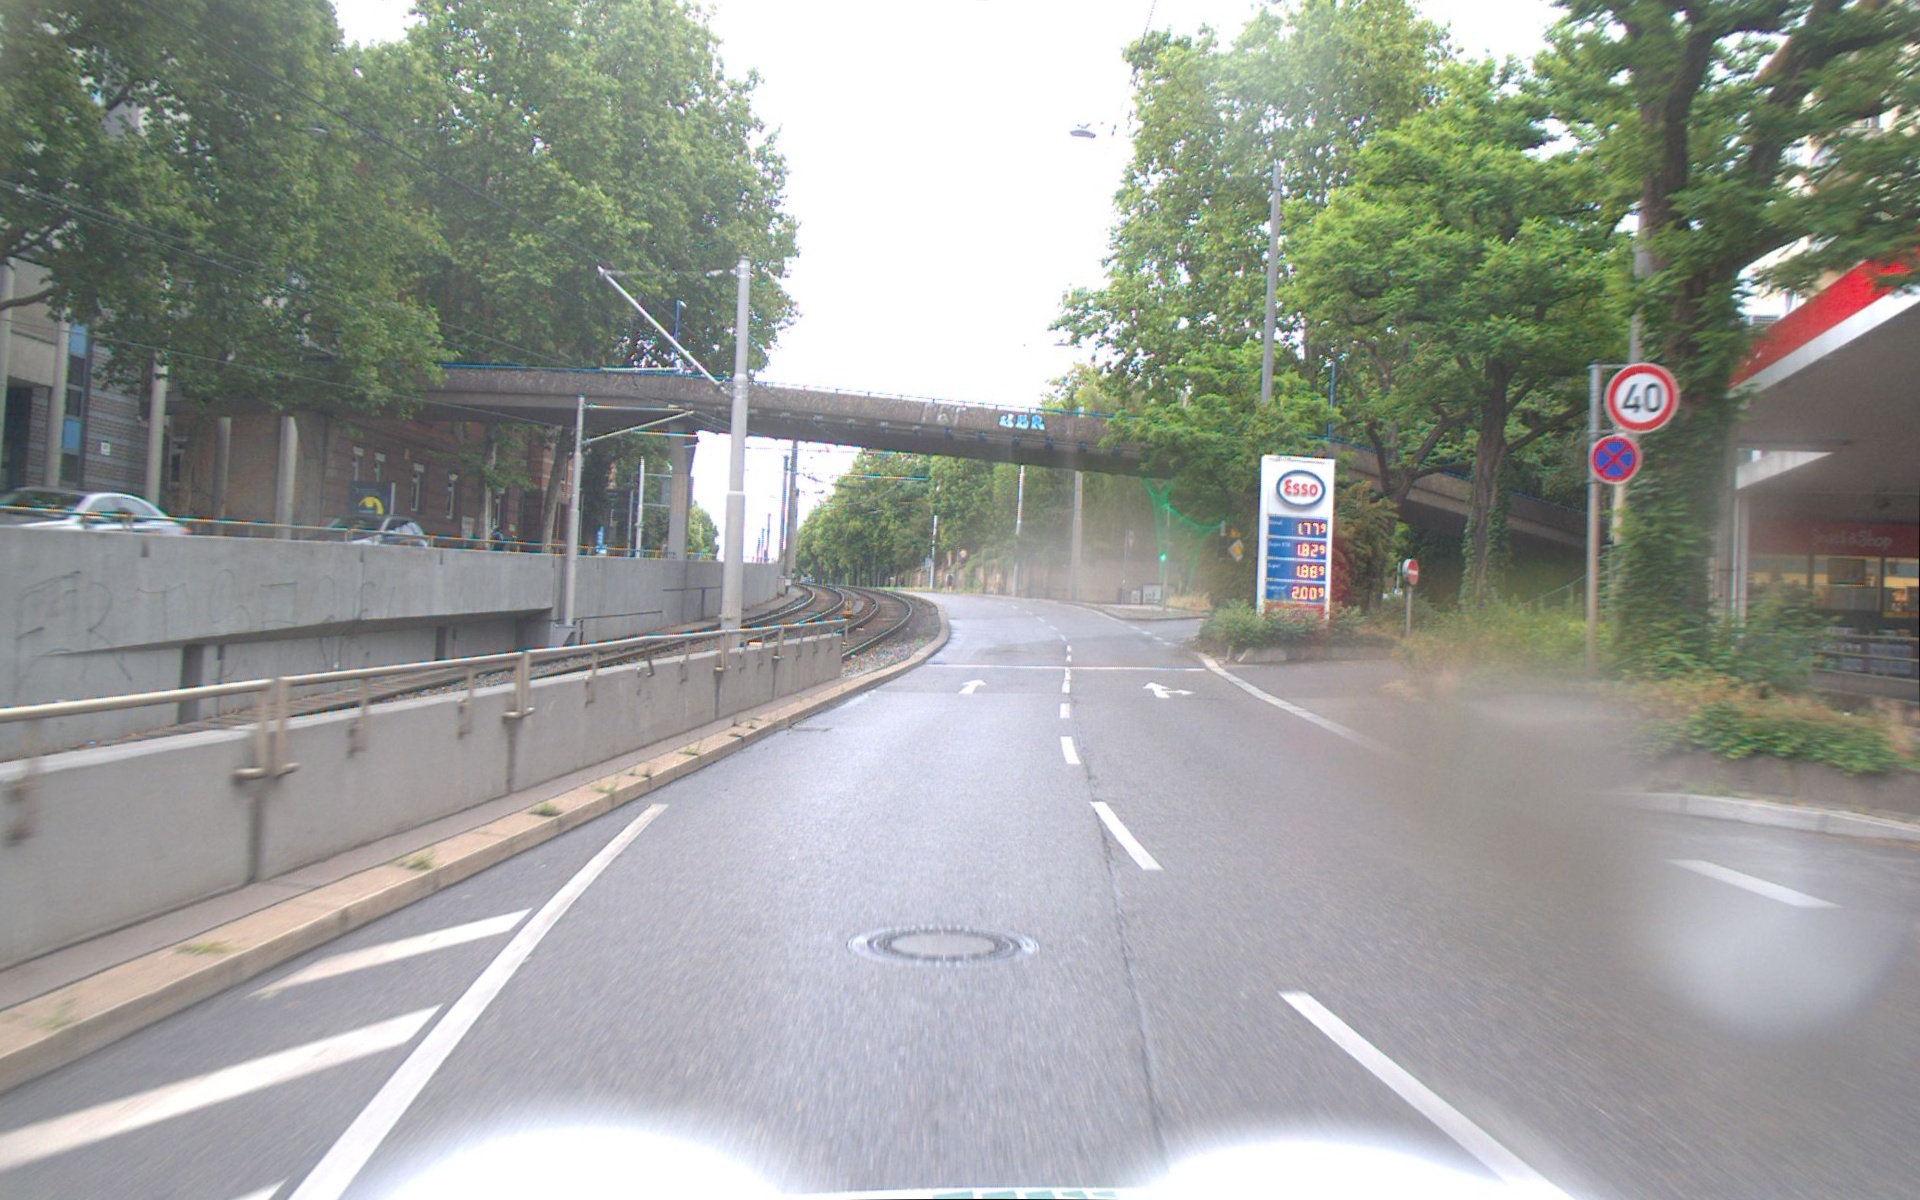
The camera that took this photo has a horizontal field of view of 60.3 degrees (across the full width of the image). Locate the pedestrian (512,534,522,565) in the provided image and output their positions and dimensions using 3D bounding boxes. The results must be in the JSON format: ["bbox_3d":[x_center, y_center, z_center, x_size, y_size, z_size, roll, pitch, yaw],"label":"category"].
[{"bbox_3d":[-19.665,-2.249,73.455,0.327,1.357,0.504,1,1,-3],"label":"pedestrian"}]

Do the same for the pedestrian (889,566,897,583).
[{"bbox_3d":[-6.654,-2.536,164.180,0.706,1.716,0.728,4,0,-9],"label":"pedestrian"}]

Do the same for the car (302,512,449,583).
[{"bbox_3d":[-14.306,-1.253,40.720,1.757,1.536,4.111,4,1,5],"label":"car"}]

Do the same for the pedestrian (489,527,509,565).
[{"bbox_3d":[-20.294,-2.376,72.872,0.580,1.653,0.723,1,1,11],"label":"pedestrian"}]

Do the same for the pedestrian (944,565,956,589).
[{"bbox_3d":[-0.821,-1.889,133.600,0.706,1.882,0.782,4,0,-9],"label":"pedestrian"}]

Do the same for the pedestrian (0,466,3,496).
[{"bbox_3d":[-21.222,-1.920,35.426,0.655,2.048,0.935,4,0,7],"label":"pedestrian"}]

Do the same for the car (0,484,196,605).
[{"bbox_3d":[-12.846,-0.798,23.596,1.757,1.536,4.002,4,1,3],"label":"car"}]

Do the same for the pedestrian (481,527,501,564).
[{"bbox_3d":[-20.830,-2.420,73.483,0.580,1.653,0.723,1,1,11],"label":"pedestrian"}]
